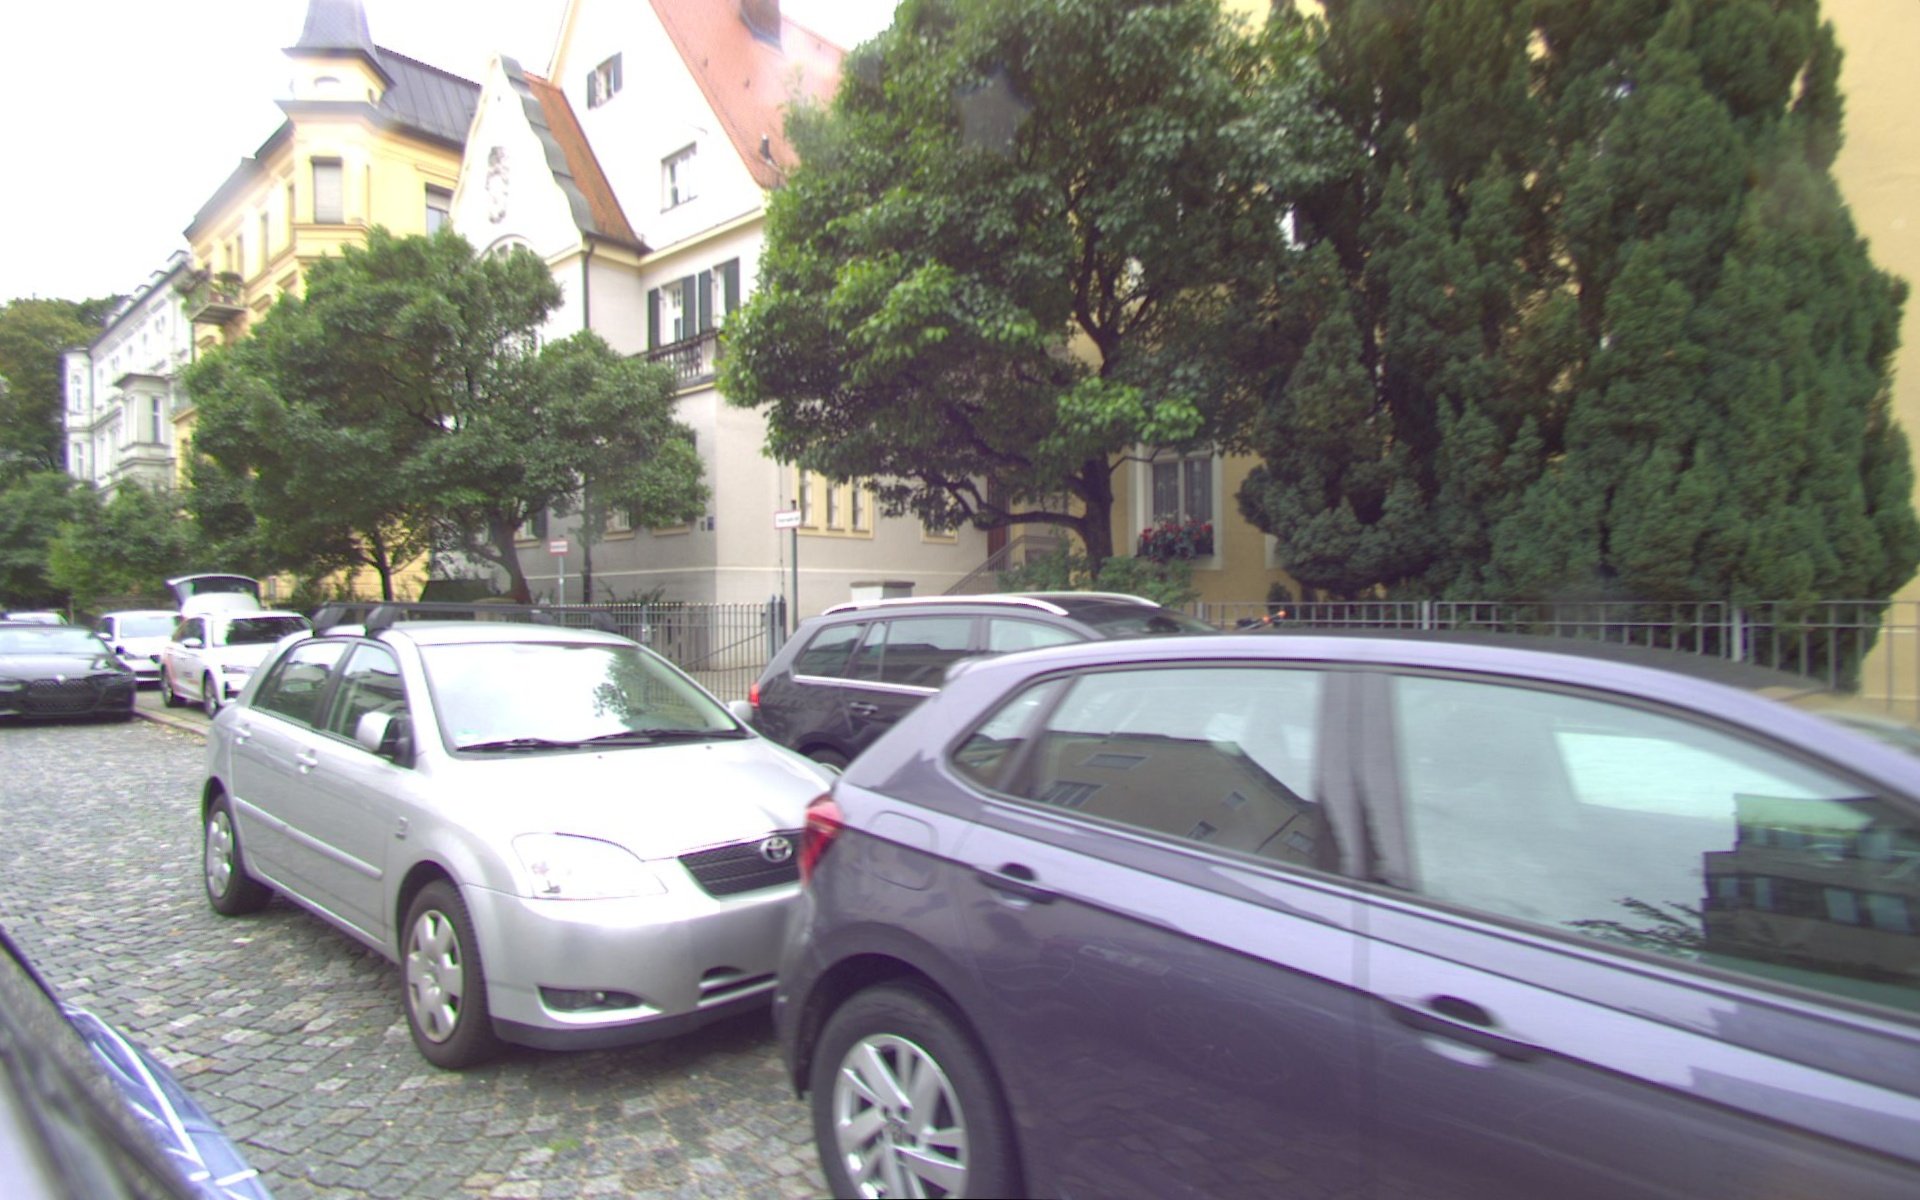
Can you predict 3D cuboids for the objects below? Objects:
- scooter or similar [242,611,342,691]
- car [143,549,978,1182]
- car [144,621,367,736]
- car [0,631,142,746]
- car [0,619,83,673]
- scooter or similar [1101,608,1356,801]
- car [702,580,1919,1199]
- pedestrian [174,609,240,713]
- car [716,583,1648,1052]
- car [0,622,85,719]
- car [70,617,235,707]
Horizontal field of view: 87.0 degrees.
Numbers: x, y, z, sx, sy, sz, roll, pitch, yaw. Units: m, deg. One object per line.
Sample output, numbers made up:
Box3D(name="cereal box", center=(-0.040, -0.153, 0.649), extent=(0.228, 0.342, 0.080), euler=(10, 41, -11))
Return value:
Box3D(name="scooter or similar", center=(-13.729, 1.009, 20.771), extent=(2.633, 1.535, 1.051), euler=(-2, -1, 41))
Box3D(name="car", center=(-2.136, 0.725, 4.621), extent=(4.387, 1.574, 1.696), euler=(-1, -3, 41))
Box3D(name="car", center=(-10.859, 1.087, 15.460), extent=(4.560, 1.427, 1.757), euler=(-1, 1, 42))
Box3D(name="car", center=(-13.867, 1.210, 15.079), extent=(4.911, 1.466, 1.795), euler=(-1, -3, 42))
Box3D(name="car", center=(-28.512, 1.369, 31.037), extent=(4.387, 1.477, 1.823), euler=(-1, 0, 41))
Box3D(name="scooter or similar", center=(1.958, 0.702, 7.444), extent=(1.521, 1.209, 0.946), euler=(-2, 1, 41))
Box3D(name="car", center=(1.416, 0.728, 1.848), extent=(3.934, 1.429, 1.712), euler=(-1, -3, 41))
Box3D(name="pedestrian", center=(-12.523, 0.991, 16.838), extent=(0.582, 1.662, 0.758), euler=(-2, 0, 42))
Box3D(name="car", center=(0.808, 0.756, 5.542), extent=(4.718, 1.508, 1.698), euler=(-1, 1, 41))
Box3D(name="car", center=(-17.555, 1.218, 18.446), extent=(4.533, 1.615, 1.722), euler=(-1, -2, 40))
Box3D(name="car", center=(-16.198, 1.156, 20.225), extent=(4.463, 1.548, 1.722), euler=(-1, 1, 40))
